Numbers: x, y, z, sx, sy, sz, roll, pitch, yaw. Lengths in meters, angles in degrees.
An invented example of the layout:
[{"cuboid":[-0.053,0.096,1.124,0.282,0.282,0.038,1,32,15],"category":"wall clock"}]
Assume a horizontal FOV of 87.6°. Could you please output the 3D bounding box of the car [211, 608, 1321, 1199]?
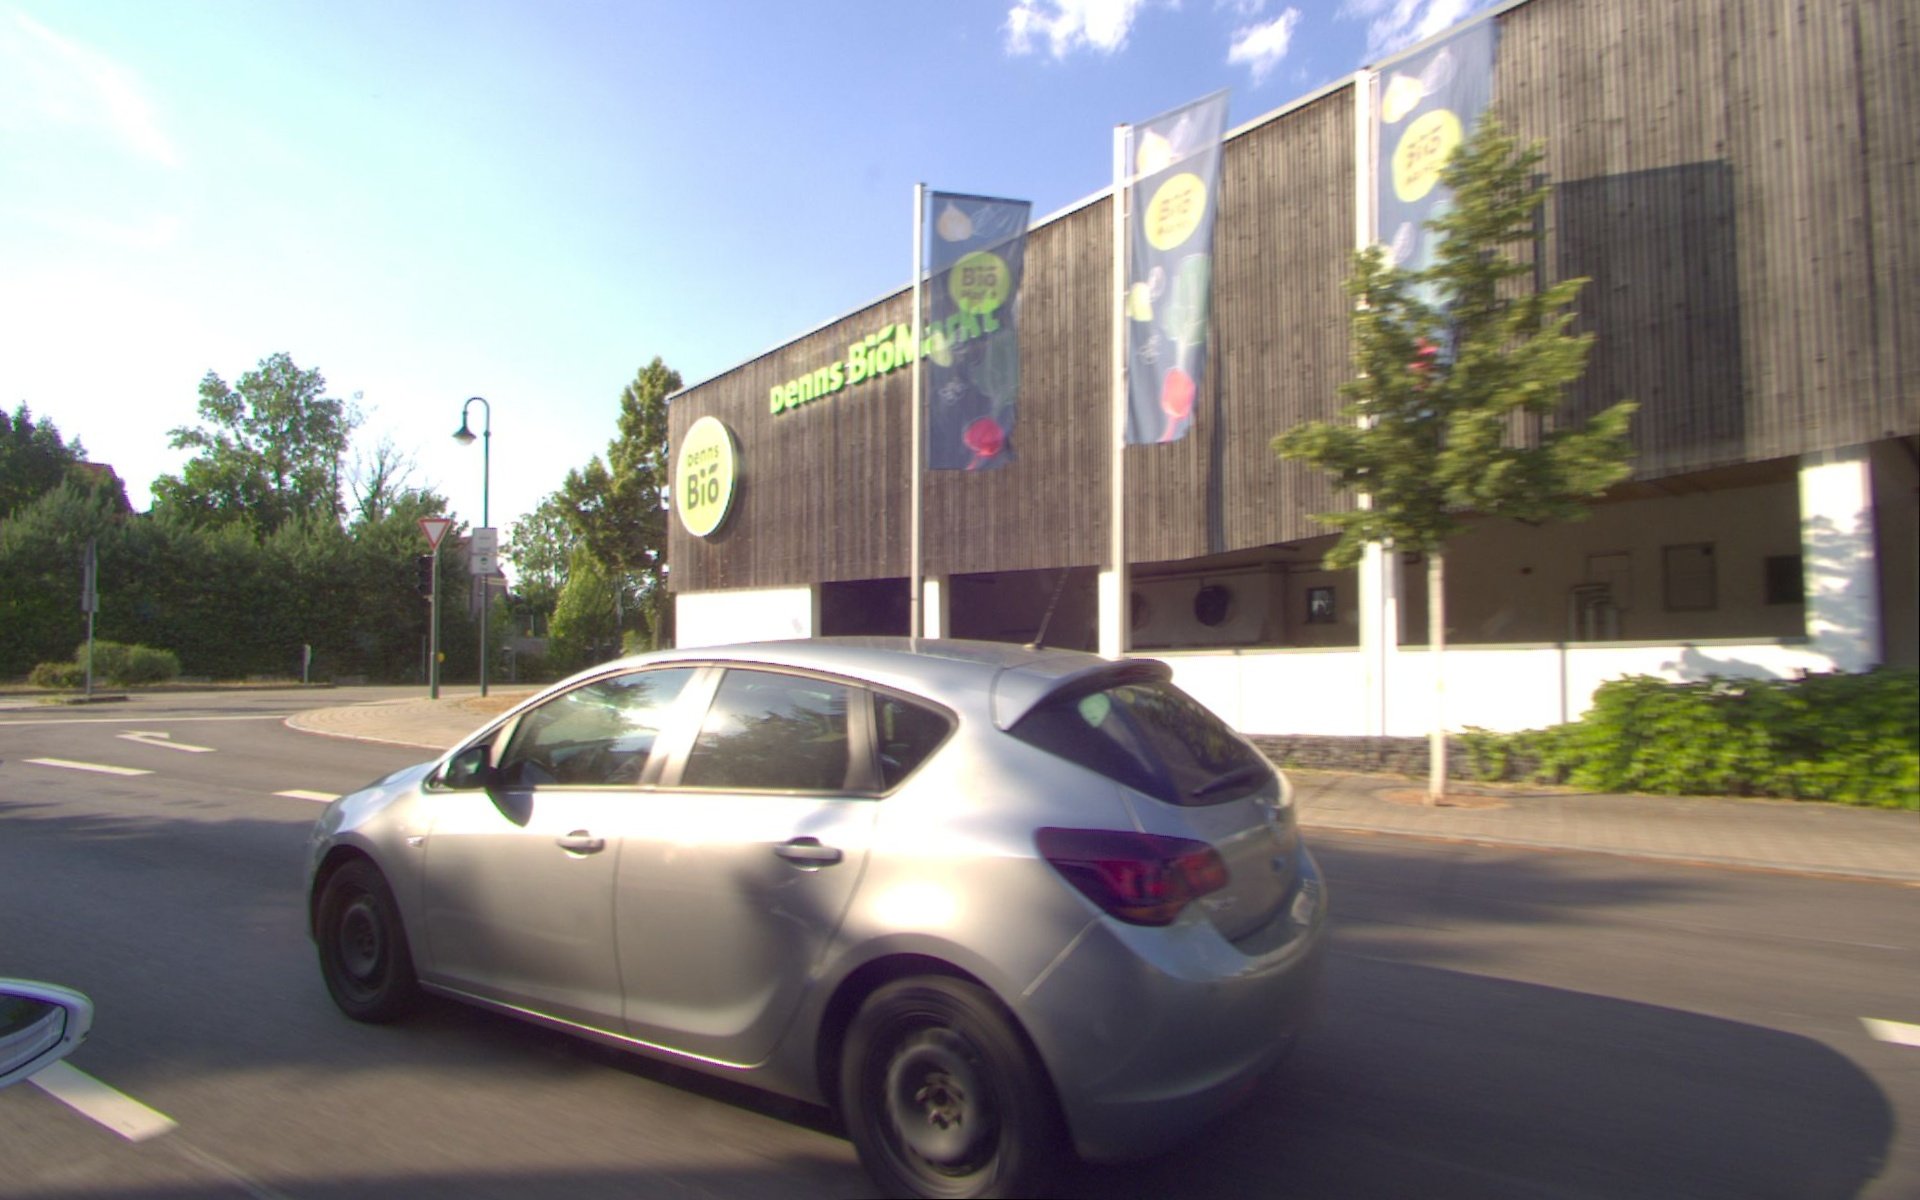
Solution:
[{"cuboid":[-0.959,0.824,3.934,4.243,1.509,1.719,-1,-2,31],"category":"car"}]
